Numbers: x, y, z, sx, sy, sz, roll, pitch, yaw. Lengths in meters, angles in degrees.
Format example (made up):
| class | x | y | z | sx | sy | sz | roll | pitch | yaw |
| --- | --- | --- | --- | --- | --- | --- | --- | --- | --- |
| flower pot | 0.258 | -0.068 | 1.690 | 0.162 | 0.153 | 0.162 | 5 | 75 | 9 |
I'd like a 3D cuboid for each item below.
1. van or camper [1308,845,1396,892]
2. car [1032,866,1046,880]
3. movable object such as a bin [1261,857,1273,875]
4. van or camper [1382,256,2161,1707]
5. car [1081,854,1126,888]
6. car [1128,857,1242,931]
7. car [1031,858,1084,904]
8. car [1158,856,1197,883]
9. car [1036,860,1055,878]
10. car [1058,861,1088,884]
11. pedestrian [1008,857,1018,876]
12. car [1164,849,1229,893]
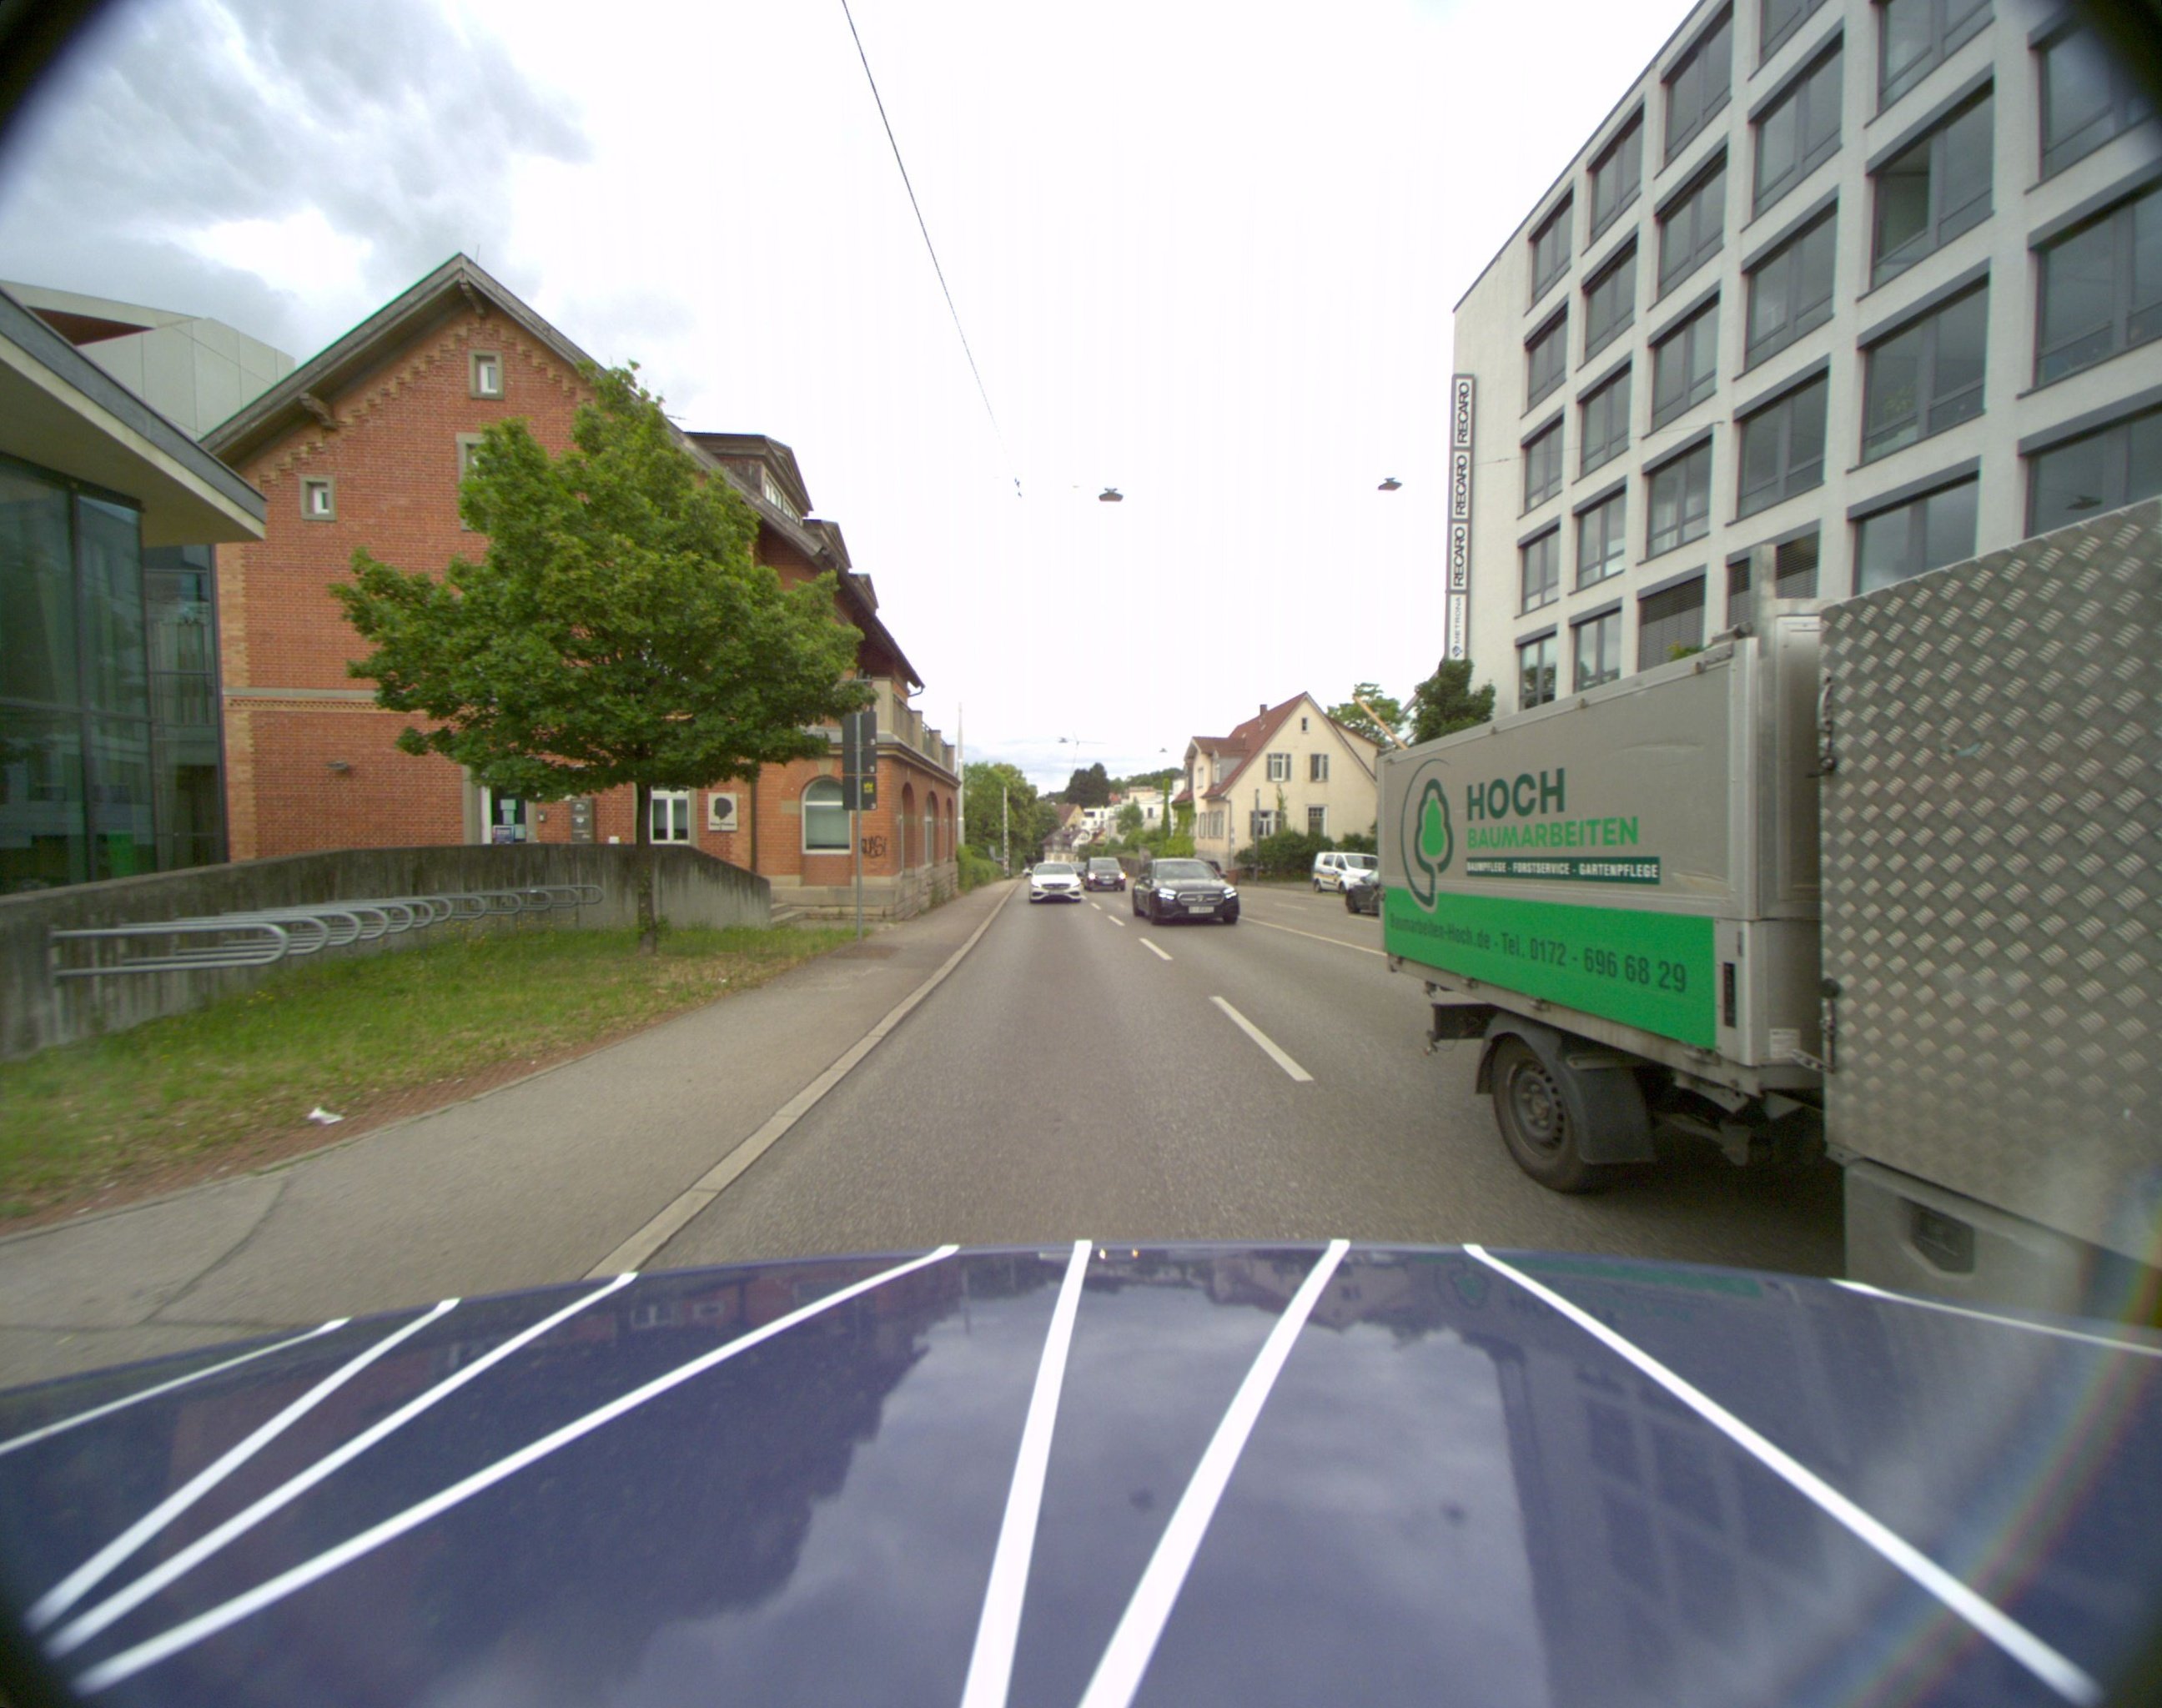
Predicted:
| class | x | y | z | sx | sy | sz | roll | pitch | yaw |
| --- | --- | --- | --- | --- | --- | --- | --- | --- | --- |
| van or camper | 12.014 | 0.651 | 34.075 | 2.066 | 1.956 | 4.872 | 0 | -1 | -3 |
| car | -5.577 | 2.508 | 99.788 | 1.713 | 1.680 | 3.791 | 0 | 1 | -5 |
| movable object such as a bin | 12.243 | 0.783 | 50.017 | 0.578 | 1.182 | 0.604 | -1 | 0 | -9 |
| van or camper | 2.999 | 0.294 | 1.515 | 2.349 | 2.647 | 5.963 | -1 | 2 | -1 |
| car | 1.029 | 0.808 | 36.977 | 1.879 | 1.521 | 3.999 | -1 | -1 | -3 |
| car | 2.310 | 0.852 | 18.030 | 1.879 | 1.521 | 4.334 | -1 | -1 | -3 |
| car | -0.898 | 0.942 | 27.736 | 1.810 | 1.521 | 3.999 | 0 | -1 | -3 |
| car | 6.637 | 1.033 | 52.718 | 1.875 | 1.779 | 4.652 | 2 | 0 | -3 |
| car | -3.565 | 1.476 | 75.925 | 1.713 | 1.680 | 3.791 | 0 | 1 | -5 |
| car | -0.565 | 1.228 | 52.642 | 1.879 | 1.521 | 3.999 | -1 | -1 | -3 |
| pedestrian | -6.612 | 1.227 | 73.818 | 0.814 | 1.873 | 0.949 | 1 | -1 | 1 |
| car | 4.892 | 0.697 | 32.829 | 1.875 | 1.692 | 4.428 | 2 | 0 | -3 |
